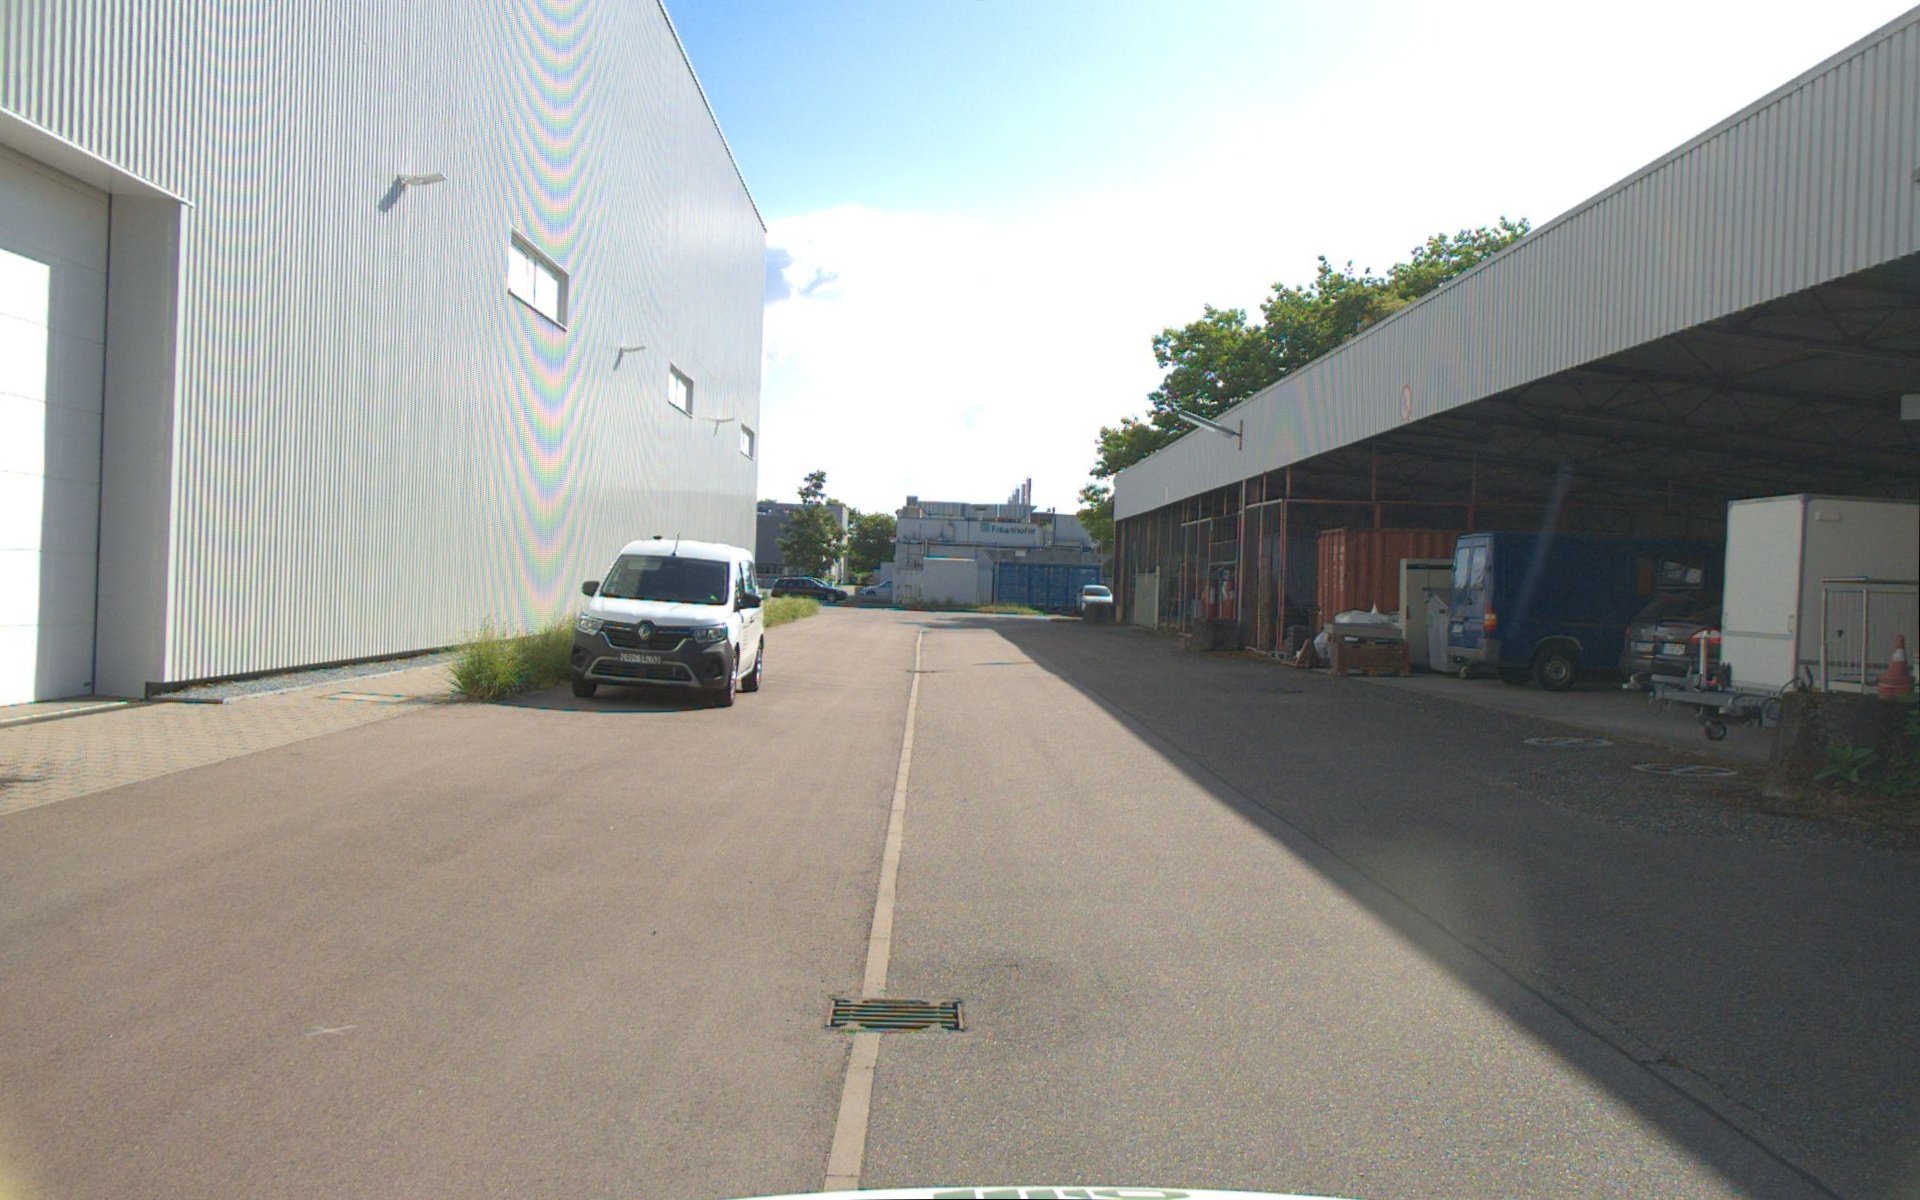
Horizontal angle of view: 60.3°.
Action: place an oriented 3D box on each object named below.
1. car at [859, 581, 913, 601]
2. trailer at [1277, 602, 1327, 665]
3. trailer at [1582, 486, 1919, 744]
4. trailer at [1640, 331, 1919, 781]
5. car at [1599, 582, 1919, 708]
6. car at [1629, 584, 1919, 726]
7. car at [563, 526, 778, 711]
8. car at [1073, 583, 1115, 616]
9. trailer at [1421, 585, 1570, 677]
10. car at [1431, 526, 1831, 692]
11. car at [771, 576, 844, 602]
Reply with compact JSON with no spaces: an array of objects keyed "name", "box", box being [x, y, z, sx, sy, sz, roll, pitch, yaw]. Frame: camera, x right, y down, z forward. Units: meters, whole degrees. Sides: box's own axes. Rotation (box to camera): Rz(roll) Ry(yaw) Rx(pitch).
[{"name":"car","box":[-5.783,-0.678,129.533,4.216,1.483,1.823,1,0,-2]},{"name":"trailer","box":[6.373,0.606,30.906,0.541,1.138,1.546,0,0,-3]},{"name":"trailer","box":[8.779,0.145,16.444,4.424,2.383,2.047,0,0,0]},{"name":"trailer","box":[11.356,-0.314,14.008,10.059,3.401,2.801,0,0,-1]},{"name":"car","box":[10.859,0.585,22.140,3.886,1.540,1.838,1,0,-4]},{"name":"car","box":[10.168,0.612,19.037,4.164,1.497,1.868,1,1,-4]},{"name":"car","box":[-3.304,0.193,19.738,1.747,1.847,4.600,3,0,-1]},{"name":"car","box":[7.238,-0.033,89.502,1.939,1.630,4.378,0,2,0]},{"name":"trailer","box":[8.975,0.494,27.860,1.996,1.492,1.739,0,0,3]},{"name":"car","box":[10.136,0.138,25.274,5.225,2.321,2.152,1,0,-2]},{"name":"car","box":[-9.346,-0.656,101.547,4.358,1.557,1.823,1,0,-2]}]
